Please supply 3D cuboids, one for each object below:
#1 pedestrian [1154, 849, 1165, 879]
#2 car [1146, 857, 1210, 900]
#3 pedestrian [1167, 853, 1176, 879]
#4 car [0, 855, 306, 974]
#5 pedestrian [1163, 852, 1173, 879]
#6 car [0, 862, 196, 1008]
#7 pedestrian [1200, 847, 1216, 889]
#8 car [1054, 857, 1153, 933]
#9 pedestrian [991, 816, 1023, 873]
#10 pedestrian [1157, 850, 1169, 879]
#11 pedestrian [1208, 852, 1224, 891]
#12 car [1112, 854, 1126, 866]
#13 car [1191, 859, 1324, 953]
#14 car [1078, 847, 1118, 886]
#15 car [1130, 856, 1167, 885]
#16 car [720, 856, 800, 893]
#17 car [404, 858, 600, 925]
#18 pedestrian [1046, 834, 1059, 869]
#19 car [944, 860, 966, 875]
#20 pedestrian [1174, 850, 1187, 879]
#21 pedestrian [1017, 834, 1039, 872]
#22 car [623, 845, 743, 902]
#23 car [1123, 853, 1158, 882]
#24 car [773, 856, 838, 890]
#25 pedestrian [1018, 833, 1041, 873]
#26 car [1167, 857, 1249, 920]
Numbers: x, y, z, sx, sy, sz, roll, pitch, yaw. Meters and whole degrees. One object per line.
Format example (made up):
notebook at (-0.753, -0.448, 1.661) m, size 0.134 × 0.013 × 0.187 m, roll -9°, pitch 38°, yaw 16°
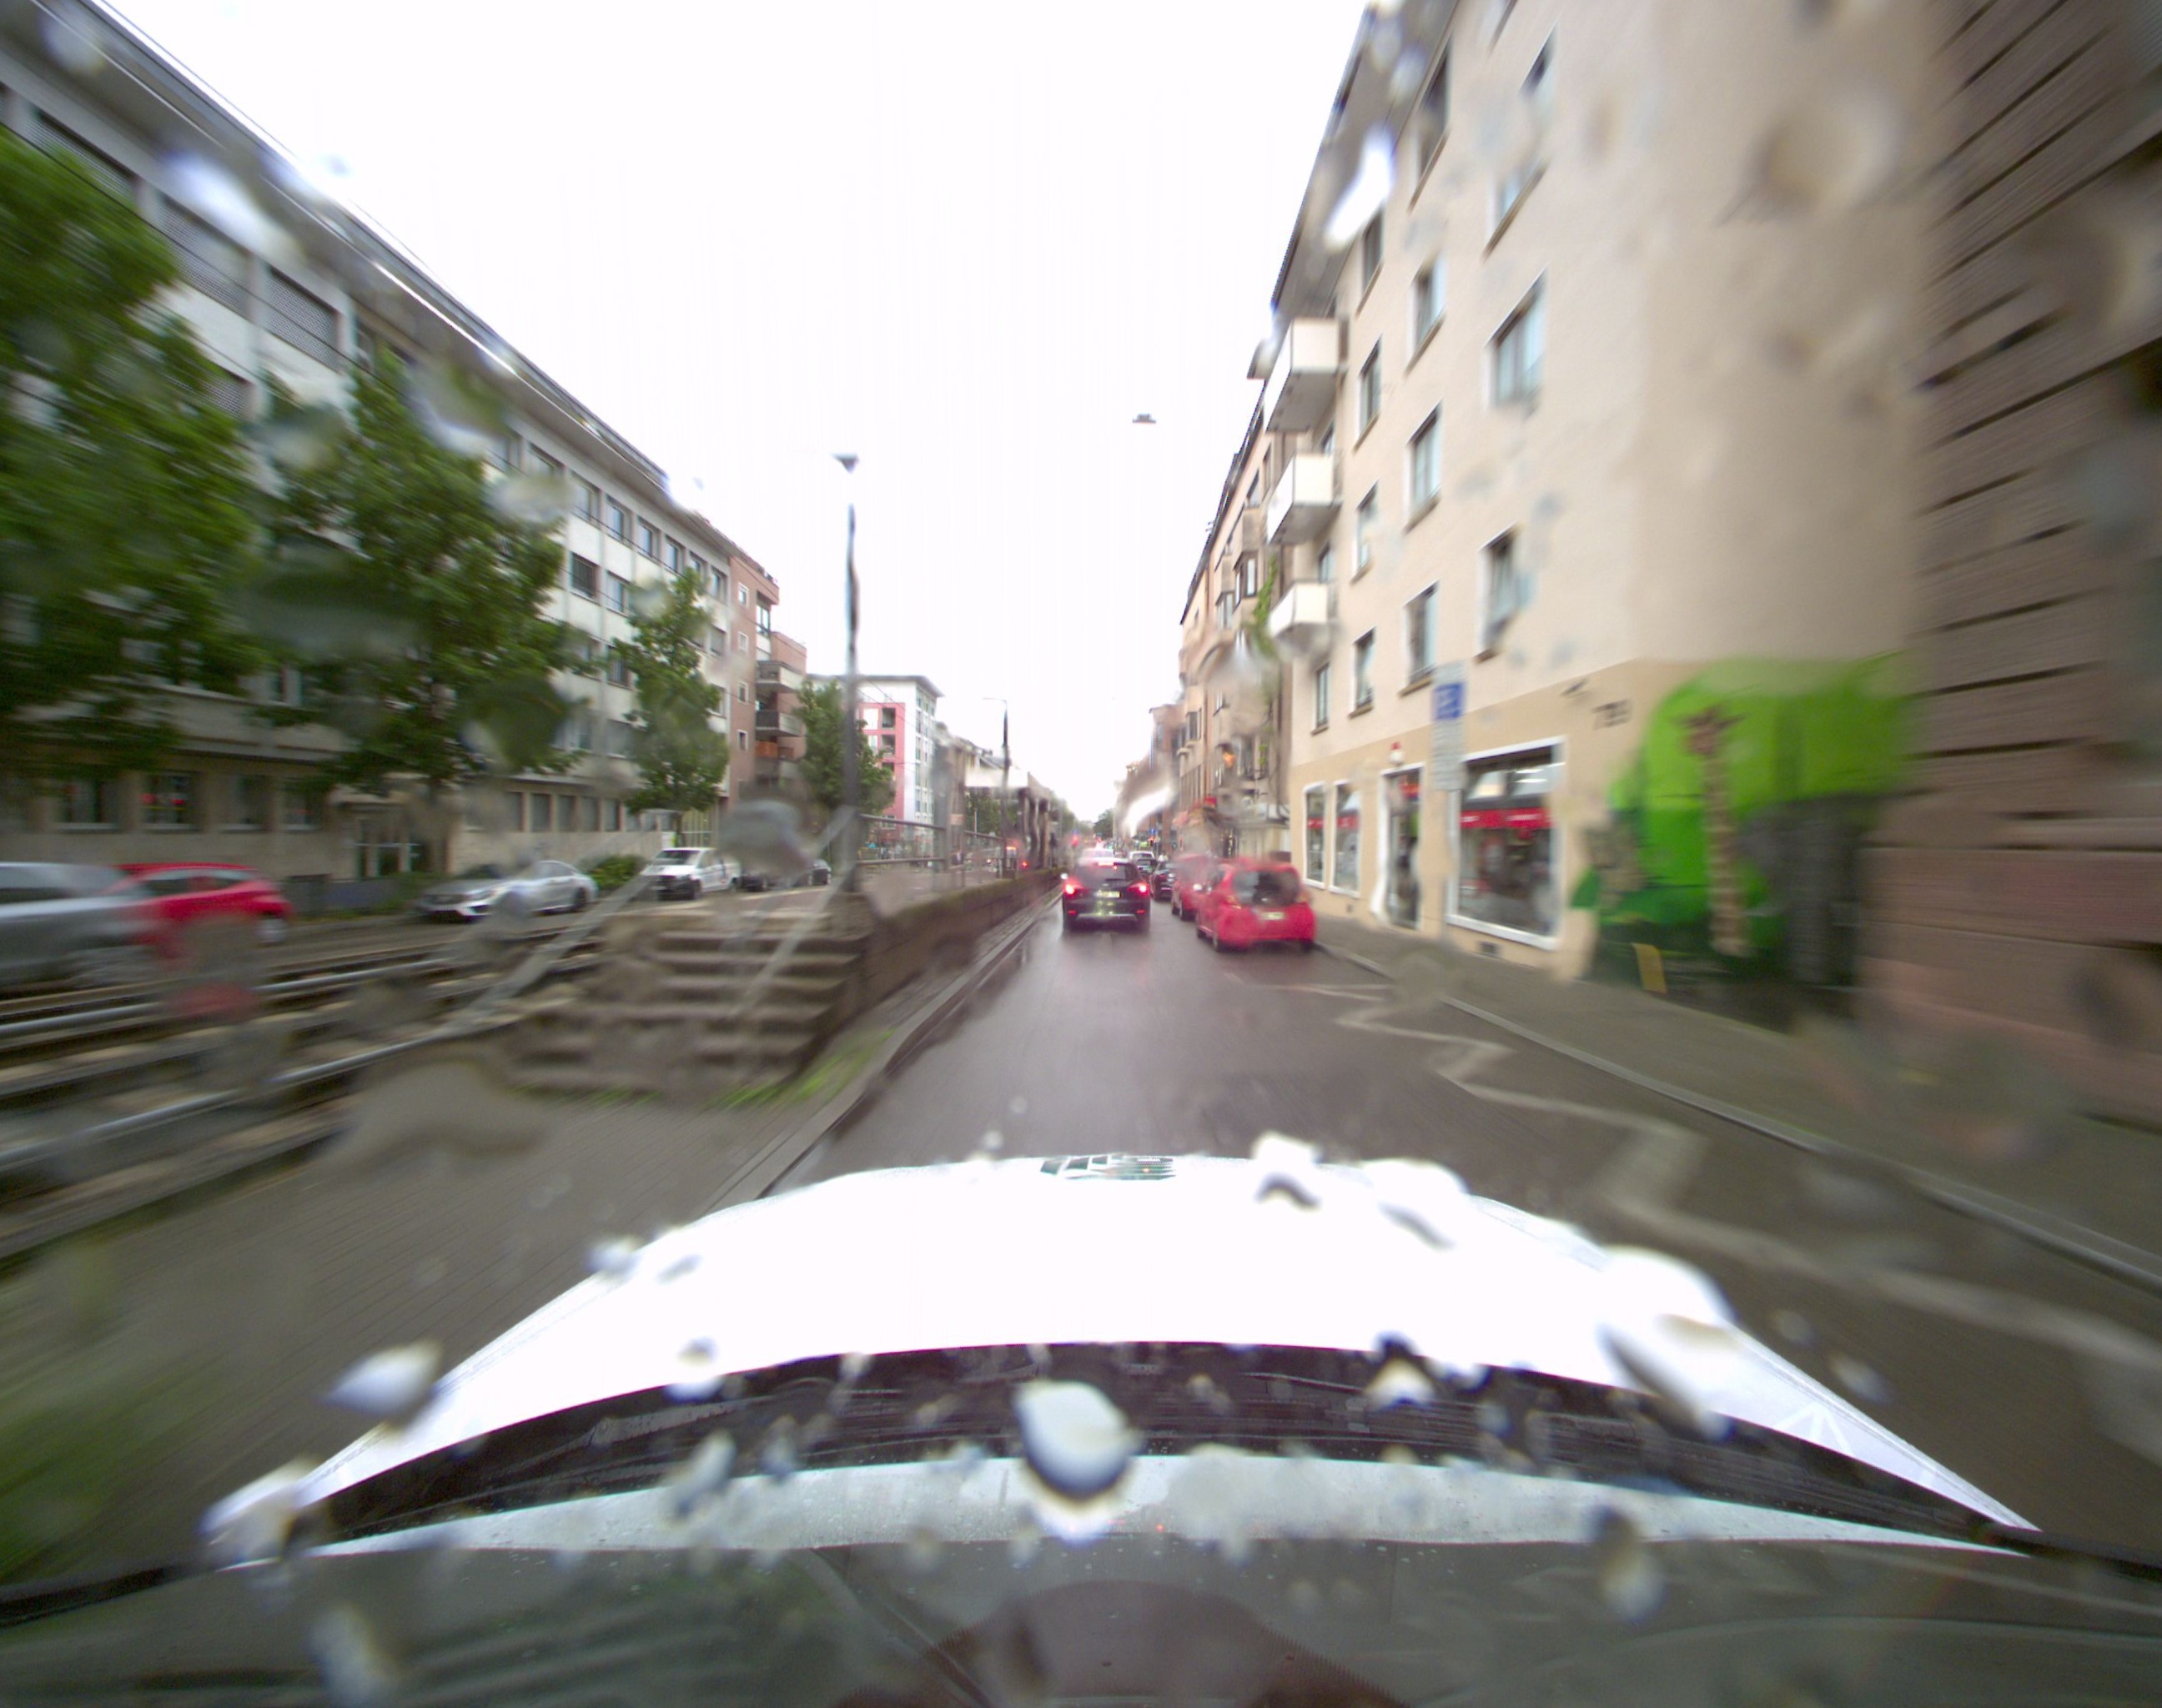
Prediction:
pedestrian at (5.168, 0.660, 53.517) m, size 0.649 × 1.948 × 0.534 m, roll 0°, pitch -1°, yaw 2°
car at (3.447, 0.851, 29.621) m, size 1.900 × 1.462 × 4.245 m, roll 0°, pitch 0°, yaw 1°
pedestrian at (5.965, 0.764, 53.760) m, size 0.573 × 1.714 × 0.477 m, roll 0°, pitch -1°, yaw 2°
car at (-14.504, 0.801, 12.442) m, size 1.633 × 1.539 × 3.803 m, roll 0°, pitch 0°, yaw 0°
pedestrian at (5.615, 0.744, 52.392) m, size 0.608 × 1.714 × 0.581 m, roll 0°, pitch -1°, yaw 2°
car at (-11.718, 0.815, 7.991) m, size 1.632 × 1.462 × 3.965 m, roll 0°, pitch 0°, yaw 2°
pedestrian at (5.604, 0.606, 35.925) m, size 0.528 × 1.858 × 0.555 m, roll 0°, pitch -1°, yaw -7°
car at (0.489, 0.801, 17.459) m, size 1.899 × 1.462 × 3.446 m, roll 0°, pitch -1°, yaw 2°
pedestrian at (-2.258, -0.288, 24.790) m, size 0.914 × 1.724 × 0.700 m, roll 0°, pitch -1°, yaw -1°
pedestrian at (5.205, 0.665, 51.782) m, size 0.692 × 1.855 × 0.653 m, roll 0°, pitch -1°, yaw 2°
pedestrian at (5.831, 0.766, 35.202) m, size 0.544 × 1.681 × 0.594 m, roll 0°, pitch -1°, yaw -7°
car at (4.805, 0.761, 102.047) m, size 1.692 × 1.479 × 3.870 m, roll -2°, pitch -1°, yaw 3°
car at (2.972, 0.819, 14.373) m, size 1.710 × 1.462 × 3.446 m, roll 0°, pitch -1°, yaw 2°
car at (0.876, 0.612, 40.691) m, size 1.899 × 1.865 × 4.575 m, roll 0°, pitch 0°, yaw 2°
car at (3.861, 0.946, 47.276) m, size 1.899 × 1.616 × 4.415 m, roll 0°, pitch 0°, yaw 2°
car at (-13.960, 0.850, 35.720) m, size 1.632 × 1.536 × 4.372 m, roll 0°, pitch 0°, yaw 2°
car at (-14.082, 0.848, 20.204) m, size 1.687 × 1.462 × 4.527 m, roll 0°, pitch 0°, yaw -2°
pedestrian at (-1.348, -0.108, 38.229) m, size 0.581 × 1.609 × 0.700 m, roll 0°, pitch -1°, yaw -1°
car at (-12.167, 1.295, 78.773) m, size 1.634 × 1.338 × 3.733 m, roll 0°, pitch 0°, yaw -1°
pedestrian at (6.329, 0.673, 51.953) m, size 0.753 × 1.819 × 0.588 m, roll 0°, pitch -1°, yaw 2°
pedestrian at (-1.826, -0.033, 28.254) m, size 0.726 × 1.302 × 0.700 m, roll 0°, pitch -1°, yaw -1°
car at (-14.172, 0.662, 29.406) m, size 1.902 × 1.844 × 5.252 m, roll 0°, pitch 0°, yaw -3°
car at (3.841, 0.838, 53.318) m, size 1.901 × 1.806 × 4.776 m, roll 0°, pitch 0°, yaw -1°
car at (-13.857, 0.913, 41.189) m, size 1.632 × 1.624 × 4.372 m, roll 0°, pitch 0°, yaw 2°
pedestrian at (-1.718, -0.038, 27.263) m, size 0.726 × 1.302 × 0.700 m, roll 0°, pitch -1°, yaw -1°
car at (3.102, 0.805, 20.468) m, size 1.639 × 1.462 × 3.415 m, roll 0°, pitch -1°, yaw 2°
